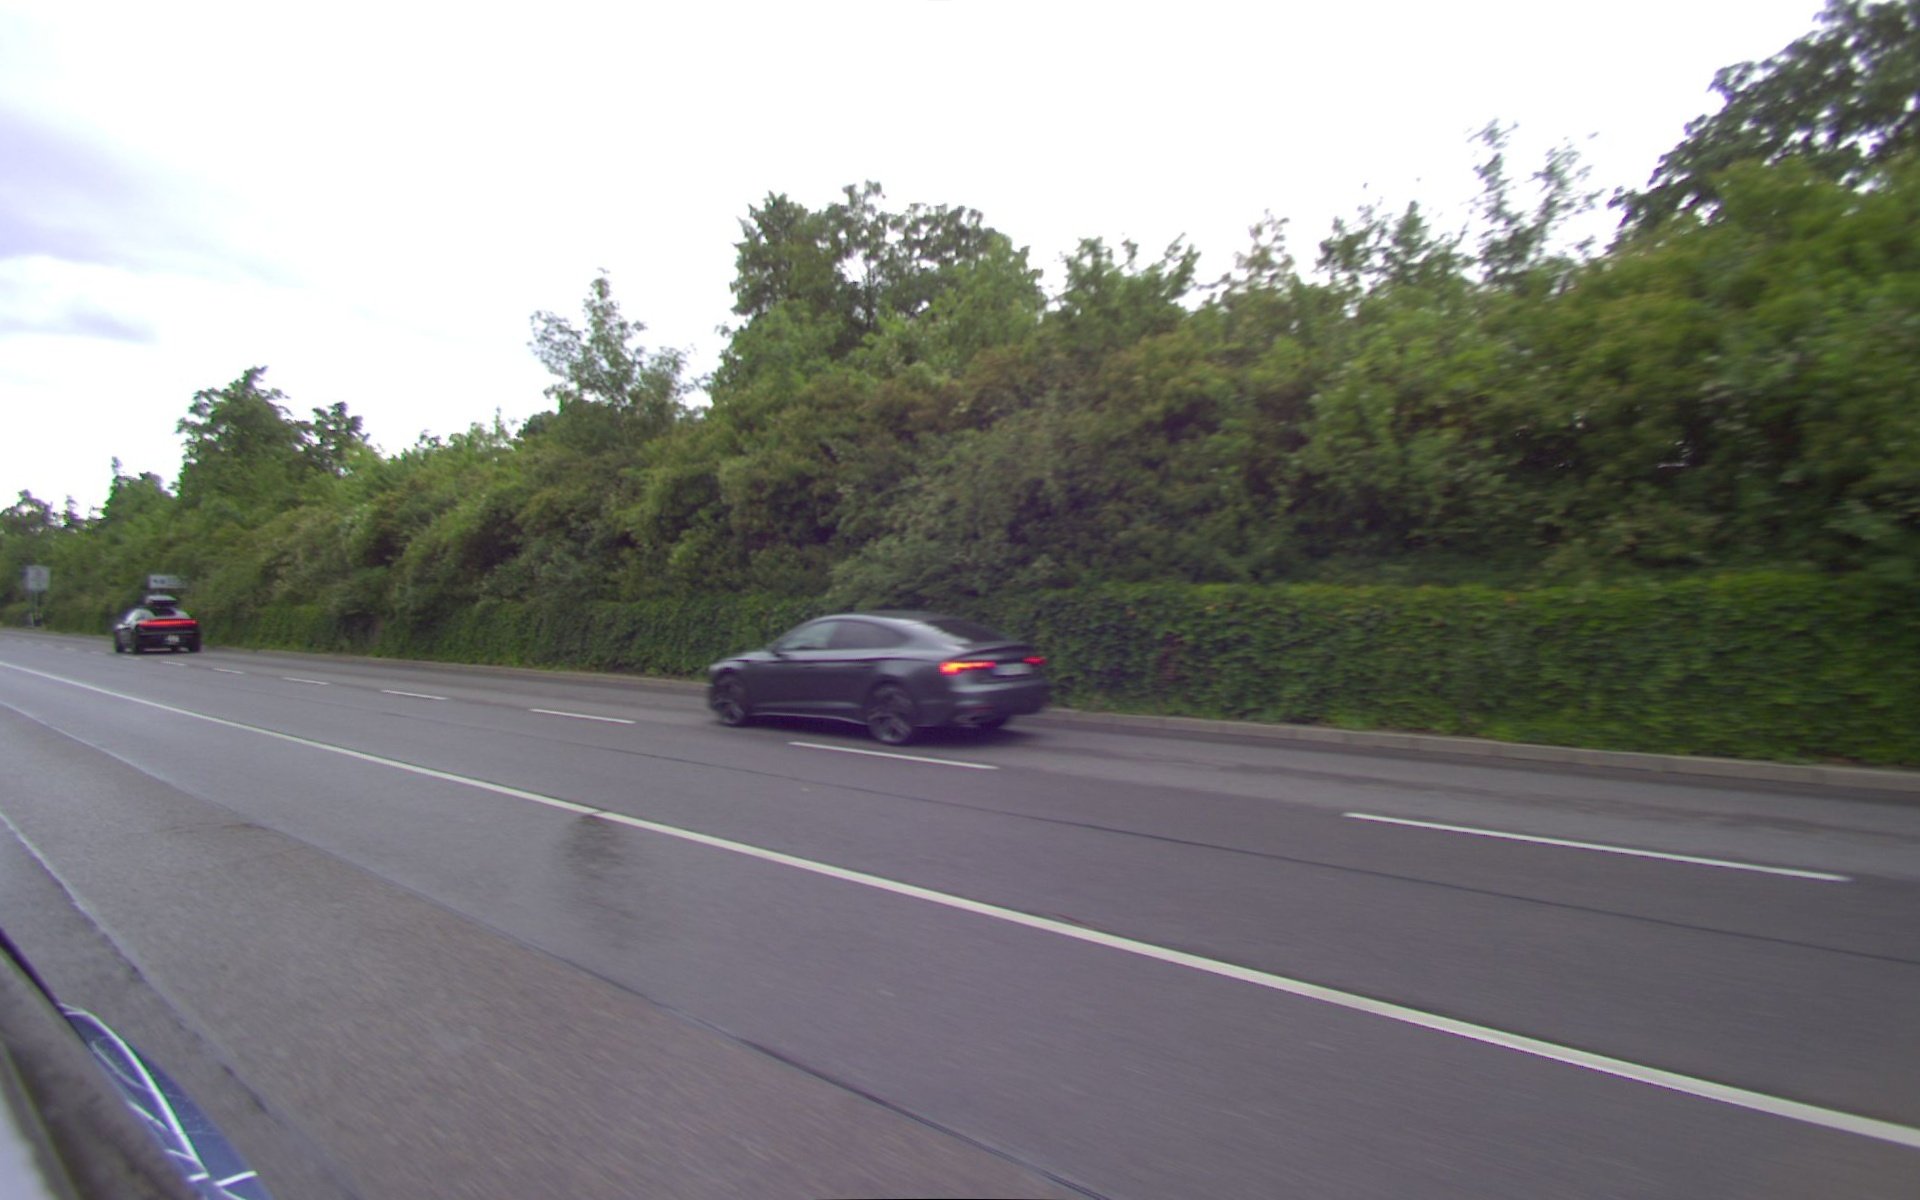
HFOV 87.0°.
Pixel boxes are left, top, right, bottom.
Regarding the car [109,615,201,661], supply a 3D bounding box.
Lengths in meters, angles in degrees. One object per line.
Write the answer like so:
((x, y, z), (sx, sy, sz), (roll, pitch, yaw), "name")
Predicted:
((-29.590, 1.353, 37.144), (4.628, 1.564, 1.879), (-1, 0, 42), "car")

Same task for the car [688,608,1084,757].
((-1.059, 0.867, 11.902), (4.835, 1.391, 1.741), (-2, -1, 41), "car")
